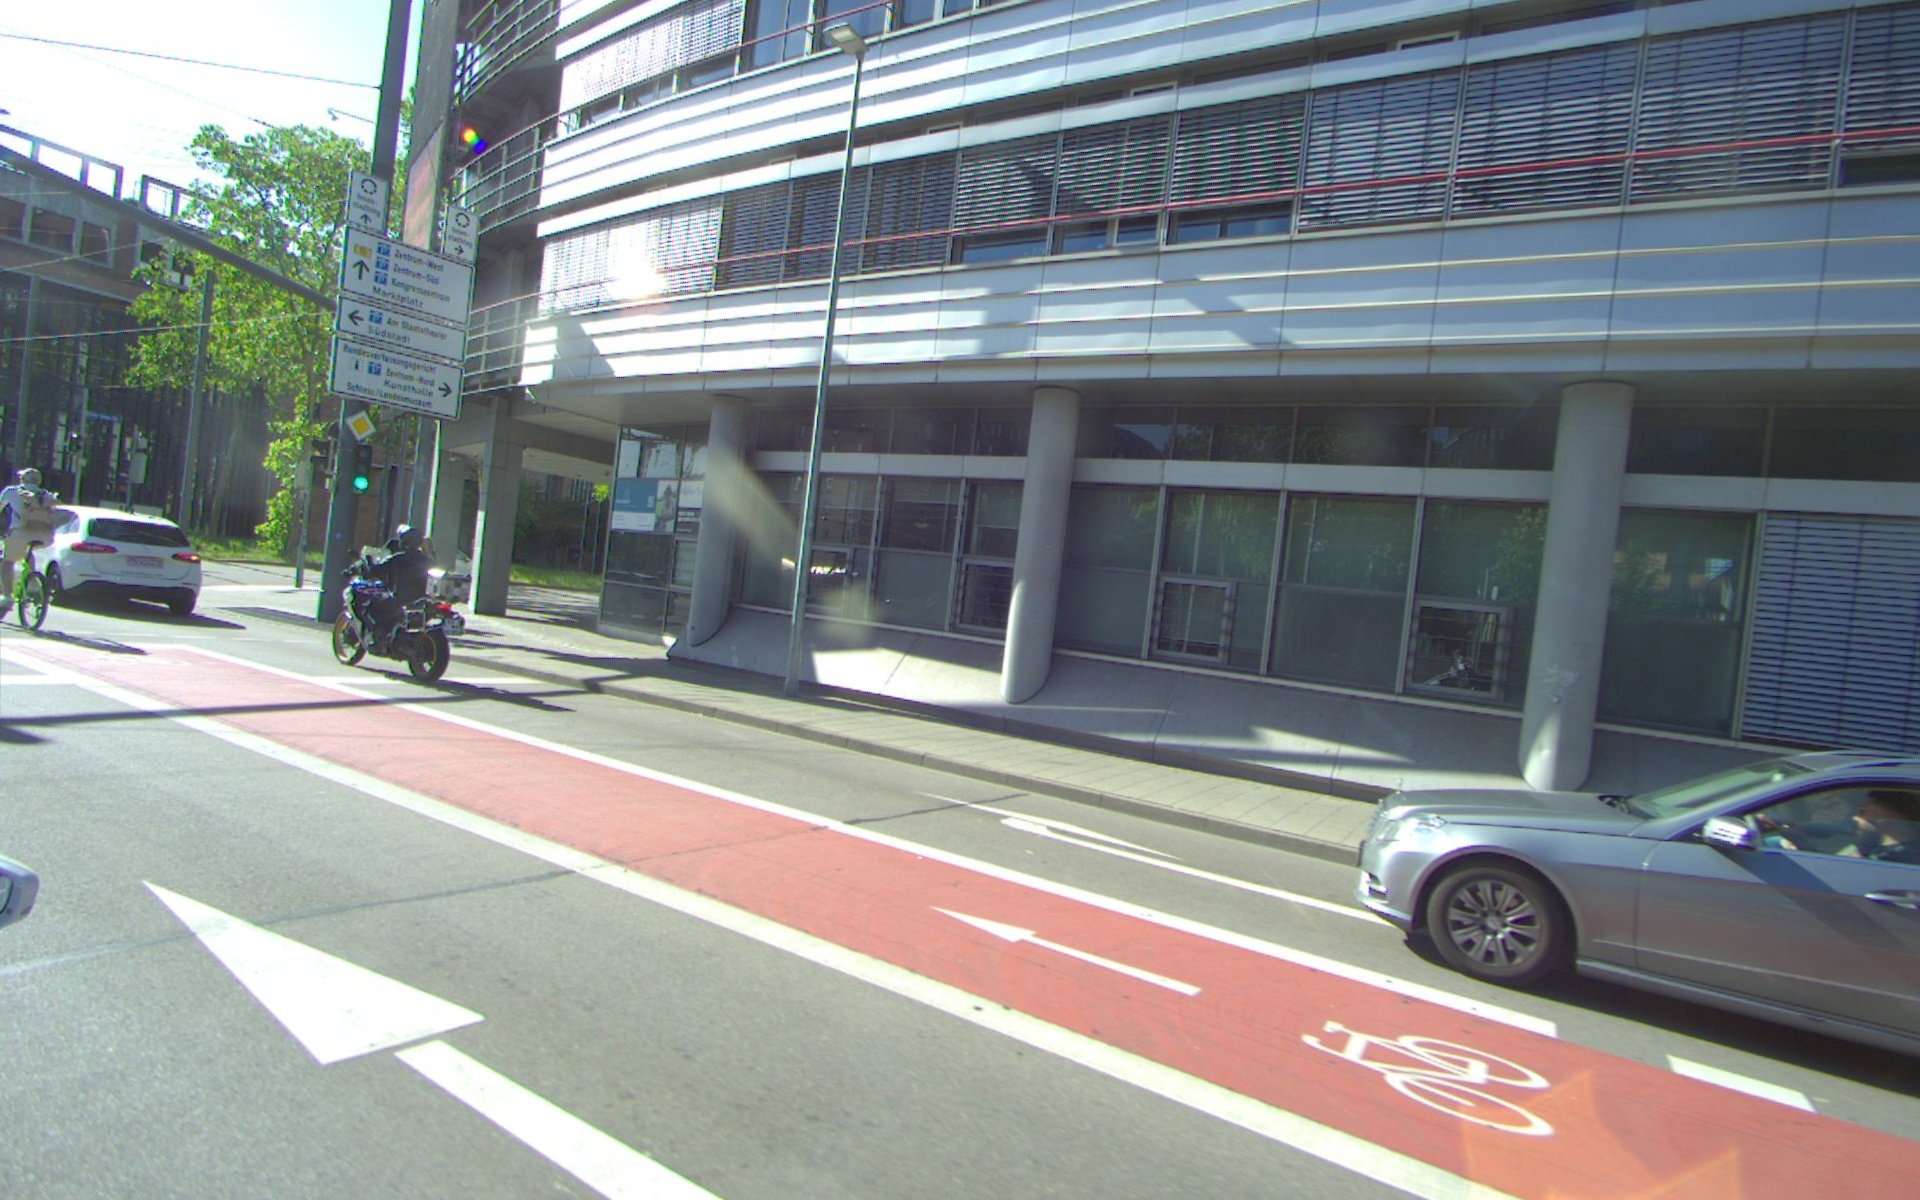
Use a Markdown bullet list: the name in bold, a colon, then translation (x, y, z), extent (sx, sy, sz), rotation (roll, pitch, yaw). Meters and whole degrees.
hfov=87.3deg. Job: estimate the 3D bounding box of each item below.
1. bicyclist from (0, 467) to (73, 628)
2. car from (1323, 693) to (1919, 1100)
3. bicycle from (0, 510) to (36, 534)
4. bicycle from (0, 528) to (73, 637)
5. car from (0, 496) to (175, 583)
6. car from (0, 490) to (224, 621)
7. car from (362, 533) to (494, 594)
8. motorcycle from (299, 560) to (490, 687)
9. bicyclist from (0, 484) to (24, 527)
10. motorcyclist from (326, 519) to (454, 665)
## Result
- **bicyclist**: translation (-11.065, -0.636, 11.741), extent (1.027, 1.774, 0.650), rotation (8, 1, 30)
- **car**: translation (4.568, 1.523, 5.177), extent (4.710, 1.413, 1.723), rotation (7, 0, 33)
- **bicycle**: translation (-39.174, -3.250, 41.275), extent (0.661, 0.816, 1.674), rotation (6, 0, 21)
- **bicycle**: translation (-11.257, -0.248, 11.836), extent (1.728, 1.124, 0.650), rotation (8, 1, 30)
- **car**: translation (-20.078, -1.332, 22.818), extent (1.883, 1.559, 4.128), rotation (8, -2, -14)
- **car**: translation (-14.114, -0.759, 16.537), extent (4.072, 1.602, 1.908), rotation (7, -2, 35)
- **car**: translation (-19.835, -1.323, 37.687), extent (1.877, 1.601, 4.004), rotation (9, -2, 19)
- **motorcycle**: translation (-6.718, 0.263, 11.904), extent (2.351, 1.215, 0.830), rotation (6, -1, 32)
- **bicyclist**: translation (-39.112, -3.890, 41.193), extent (0.659, 1.650, 0.865), rotation (6, 1, 21)
- **motorcyclist**: translation (-6.754, -0.091, 11.927), extent (0.926, 1.579, 0.830), rotation (6, -1, 32)
